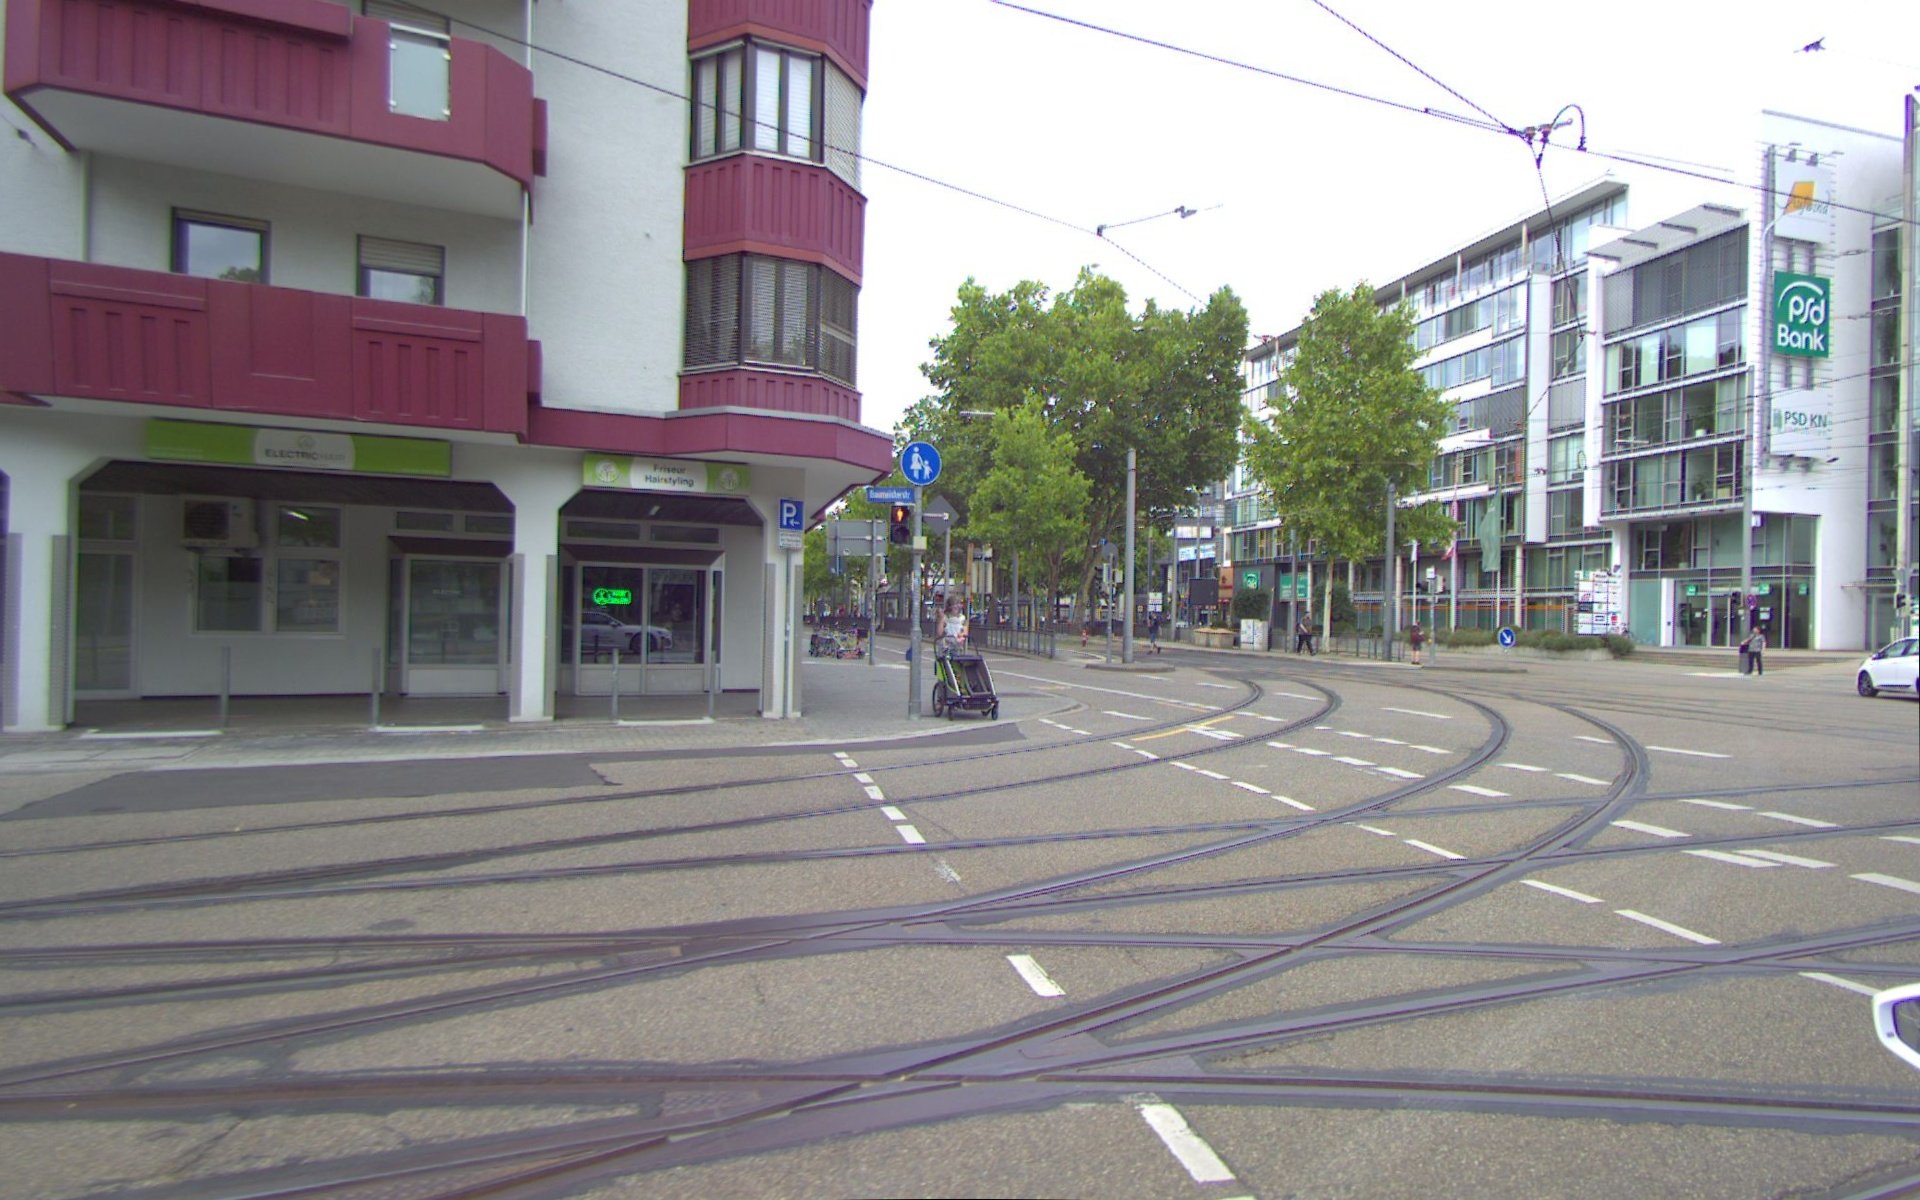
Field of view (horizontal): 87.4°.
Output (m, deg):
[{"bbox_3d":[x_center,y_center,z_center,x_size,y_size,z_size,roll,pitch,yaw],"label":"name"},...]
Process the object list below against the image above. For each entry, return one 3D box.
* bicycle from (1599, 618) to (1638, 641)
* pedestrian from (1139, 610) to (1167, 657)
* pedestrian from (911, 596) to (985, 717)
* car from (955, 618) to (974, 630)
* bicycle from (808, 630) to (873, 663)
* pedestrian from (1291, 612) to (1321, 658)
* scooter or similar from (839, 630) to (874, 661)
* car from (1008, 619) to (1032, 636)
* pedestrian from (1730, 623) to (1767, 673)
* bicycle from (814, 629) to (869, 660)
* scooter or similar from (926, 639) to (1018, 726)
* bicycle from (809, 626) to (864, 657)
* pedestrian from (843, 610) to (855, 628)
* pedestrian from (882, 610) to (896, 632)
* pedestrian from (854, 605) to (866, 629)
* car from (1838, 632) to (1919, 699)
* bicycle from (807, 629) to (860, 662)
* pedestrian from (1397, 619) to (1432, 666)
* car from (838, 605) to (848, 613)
[{"bbox_3d":[36.366,1.614,55.491,2.081,1.192,0.584,2,0,-18],"label":"bicycle"},{"bbox_3d":[8.161,1.417,42.526,0.984,1.924,0.805,1,-1,-4],"label":"pedestrian"},{"bbox_3d":[-0.192,0.839,15.290,0.801,1.766,0.945,1,-1,-23],"label":"pedestrian"},{"bbox_3d":[0.645,3.408,143.594,1.809,1.541,4.165,1,-1,-12],"label":"car"},{"bbox_3d":[-4.188,1.636,35.281,2.145,1.031,0.626,4,-2,-14],"label":"bicycle"},{"bbox_3d":[14.252,1.440,41.396,0.828,1.880,0.841,1,-1,-21],"label":"pedestrian"},{"bbox_3d":[-3.537,1.570,34.355,1.165,1.001,0.347,5,-3,-38],"label":"scooter or similar"},{"bbox_3d":[7.284,3.324,122.283,1.864,1.928,4.119,1,-1,-12],"label":"car"},{"bbox_3d":[30.326,1.831,38.627,0.752,1.889,0.835,1,-1,-7],"label":"pedestrian"},{"bbox_3d":[-4.356,1.629,36.803,1.857,1.031,0.625,4,-2,-21],"label":"bicycle"},{"bbox_3d":[0.154,1.162,14.476,0.933,1.143,1.193,1,0,-22],"label":"scooter or similar"},{"bbox_3d":[-4.615,1.562,37.461,1.857,1.031,0.707,4,-2,-21],"label":"bicycle"},{"bbox_3d":[-10.146,1.757,91.618,0.981,1.622,0.848,1,-1,-17],"label":"pedestrian"},{"bbox_3d":[-4.974,1.462,70.696,0.804,1.557,0.782,1,-1,-17],"label":"pedestrian"},{"bbox_3d":[-8.278,1.423,83.189,0.804,1.912,0.782,1,-1,-17],"label":"pedestrian"},{"bbox_3d":[22.391,1.485,23.154,1.805,1.458,4.188,1,-1,20],"label":"car"},{"bbox_3d":[-4.357,1.578,34.563,1.706,1.031,0.476,4,-2,-21],"label":"bicycle"},{"bbox_3d":[16.506,1.530,36.508,0.752,1.693,0.937,1,-1,-7],"label":"pedestrian"},{"bbox_3d":[-25.986,2.036,223.505,1.809,1.541,4.165,1,-1,-12],"label":"car"}]
